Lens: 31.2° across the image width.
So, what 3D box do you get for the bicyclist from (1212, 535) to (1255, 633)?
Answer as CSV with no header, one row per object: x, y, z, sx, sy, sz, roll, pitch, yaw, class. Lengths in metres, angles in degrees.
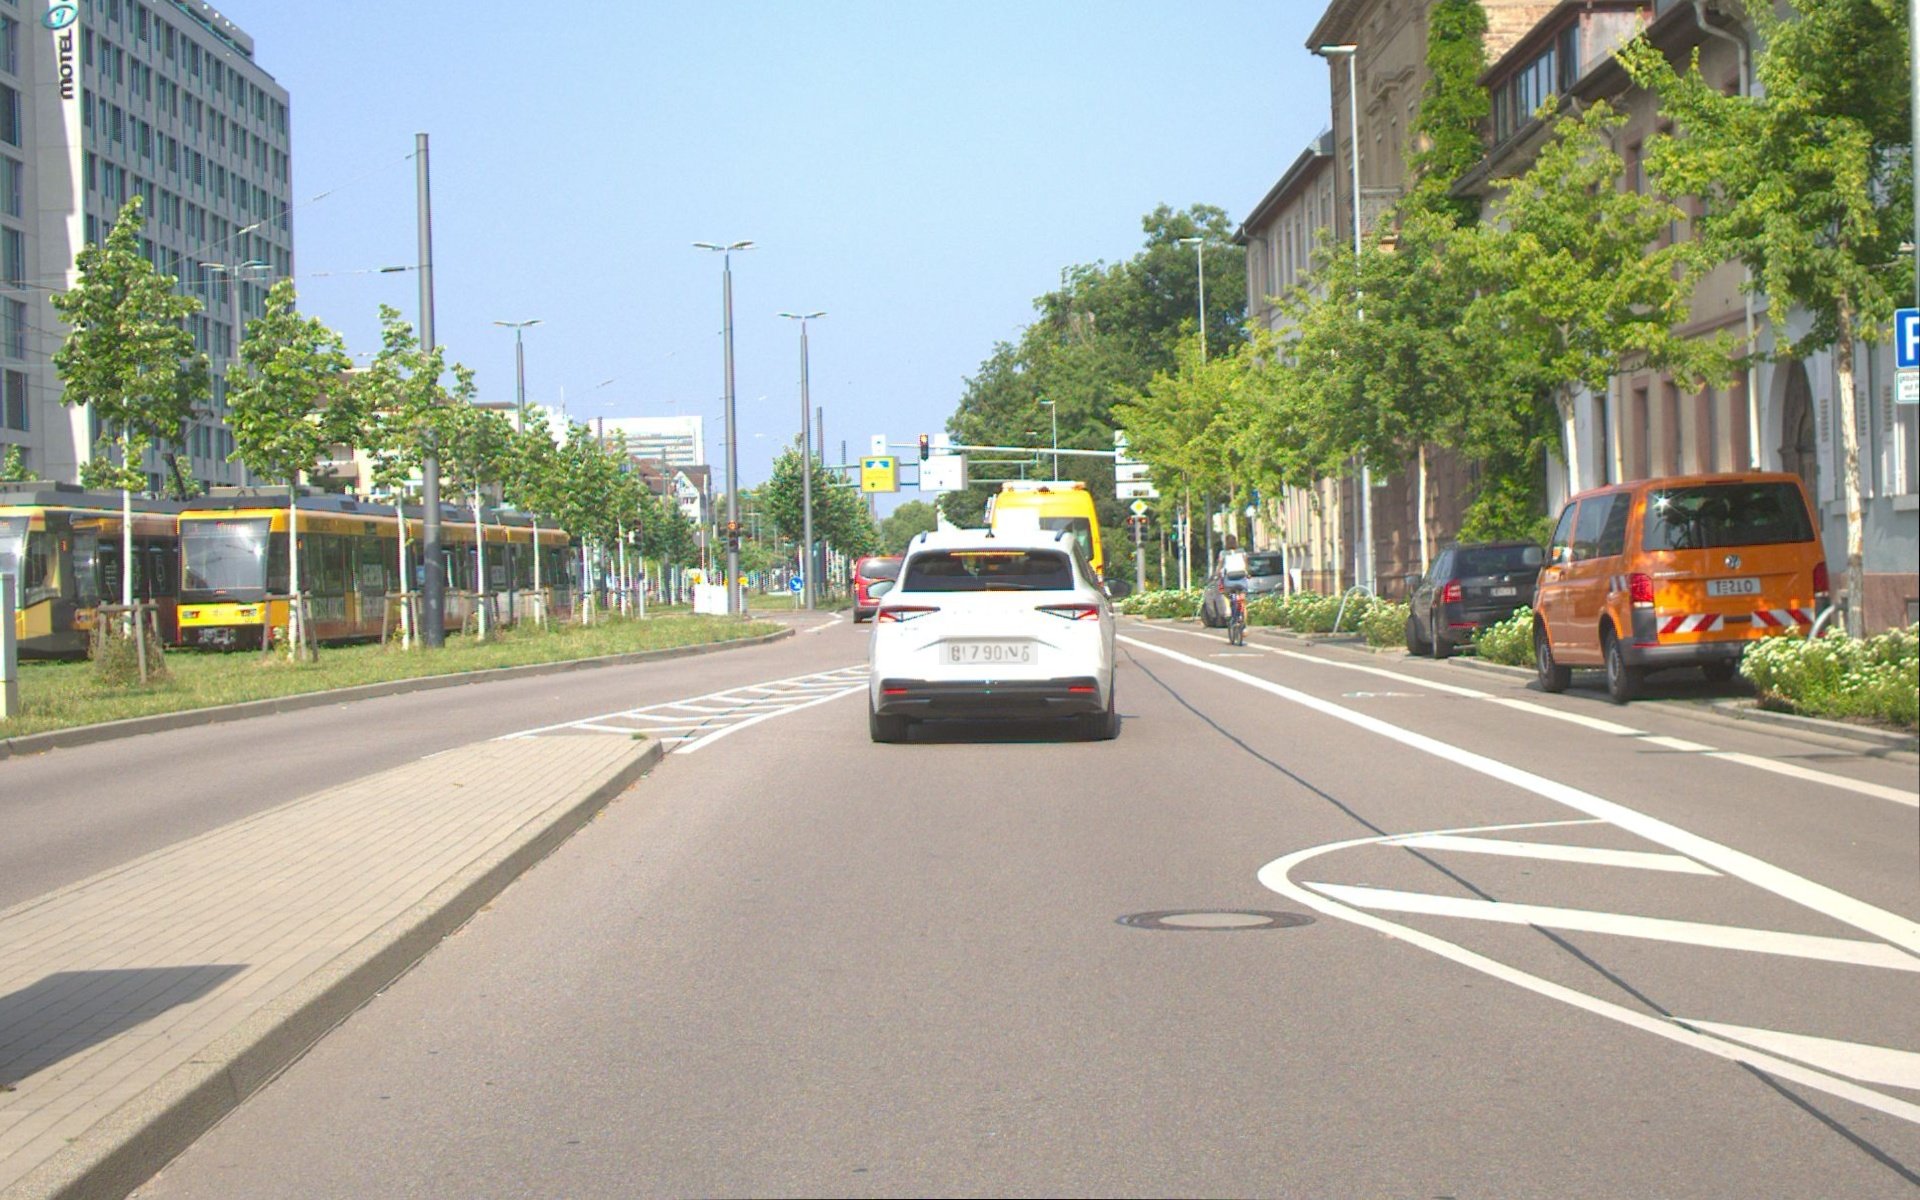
4.454,-0.260,56.017,0.639,1.571,0.771,-1,1,2,bicyclist

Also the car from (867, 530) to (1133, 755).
0.294,0.271,26.709,1.870,1.569,4.000,-1,1,0,car

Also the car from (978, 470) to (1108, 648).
1.367,-0.769,58.482,2.020,2.786,5.401,-1,3,0,car

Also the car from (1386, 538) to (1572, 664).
6.717,-0.004,44.901,1.673,1.478,4.312,-3,0,0,car

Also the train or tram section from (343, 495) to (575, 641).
-13.708,-0.899,96.221,2.906,3.694,18.288,0,0,3,train or tram section

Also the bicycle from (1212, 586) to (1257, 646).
4.456,0.250,55.914,0.655,0.935,1.517,-1,1,2,bicycle

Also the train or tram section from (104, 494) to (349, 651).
-17.919,-0.708,85.148,2.881,3.525,13.609,-1,1,1,train or tram section

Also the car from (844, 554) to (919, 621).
-2.211,-0.372,97.530,1.930,1.815,4.000,-1,1,1,car

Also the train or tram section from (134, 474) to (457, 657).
-14.667,-0.775,78.069,2.906,3.663,18.135,0,0,3,train or tram section

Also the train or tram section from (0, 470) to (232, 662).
-18.001,-0.730,70.856,2.860,3.524,14.899,-1,1,0,train or tram section

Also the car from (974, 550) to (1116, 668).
1.064,0.080,44.667,1.760,1.431,4.115,0,1,0,car

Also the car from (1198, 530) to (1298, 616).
6.282,-0.599,75.243,1.812,1.806,3.836,-1,1,0,car

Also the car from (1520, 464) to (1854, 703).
6.651,-0.202,31.970,2.063,2.007,4.588,-1,1,0,car
